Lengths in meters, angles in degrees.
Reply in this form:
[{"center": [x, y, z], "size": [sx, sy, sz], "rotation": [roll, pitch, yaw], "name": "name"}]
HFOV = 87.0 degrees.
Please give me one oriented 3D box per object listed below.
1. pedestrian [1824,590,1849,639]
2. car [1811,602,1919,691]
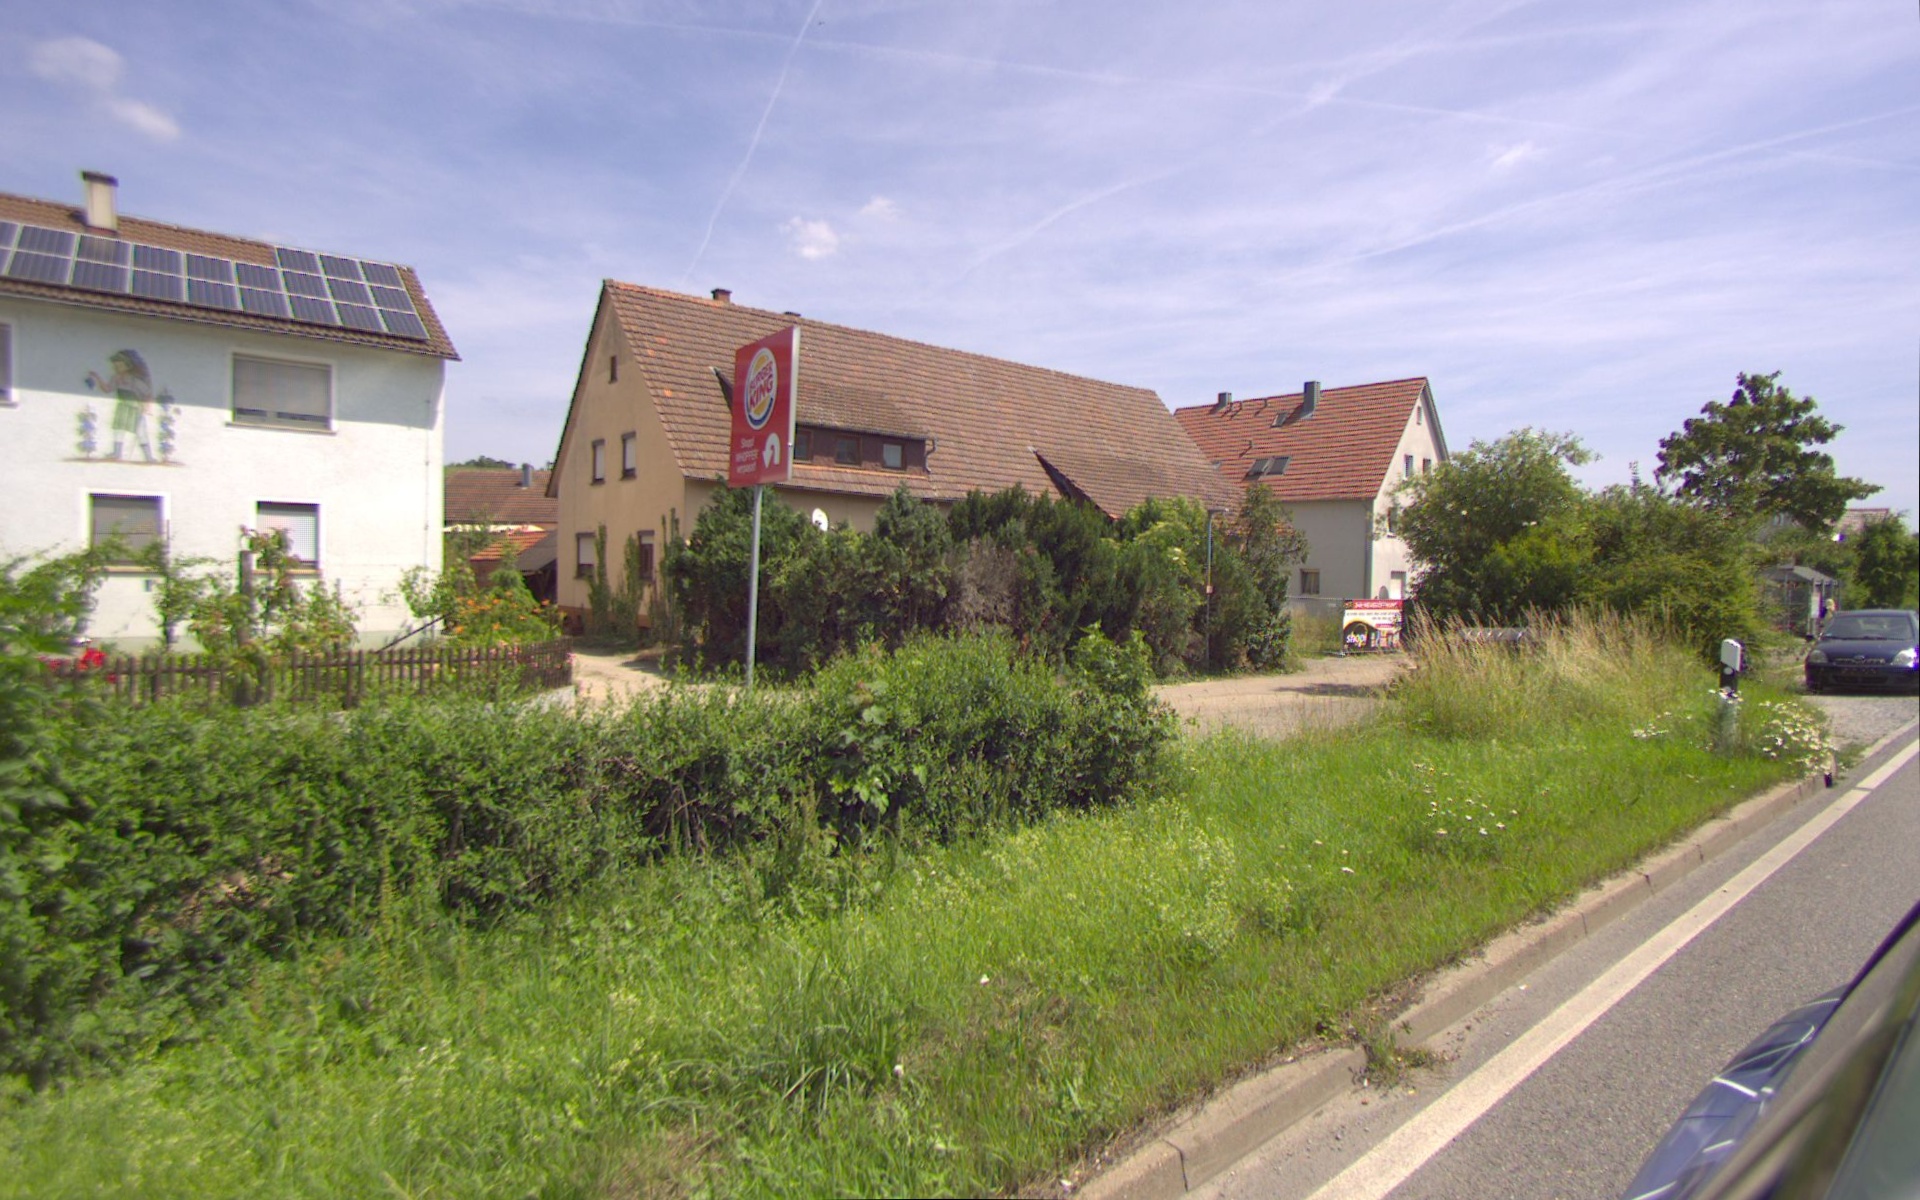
[{"center": [28.925, 0.474, 33.419], "size": [0.517, 1.568, 0.556], "rotation": [0, 1, 31], "name": "pedestrian"}, {"center": [17.135, 0.804, 18.697], "size": [3.491, 1.504, 1.633], "rotation": [0, -2, -42], "name": "car"}]
